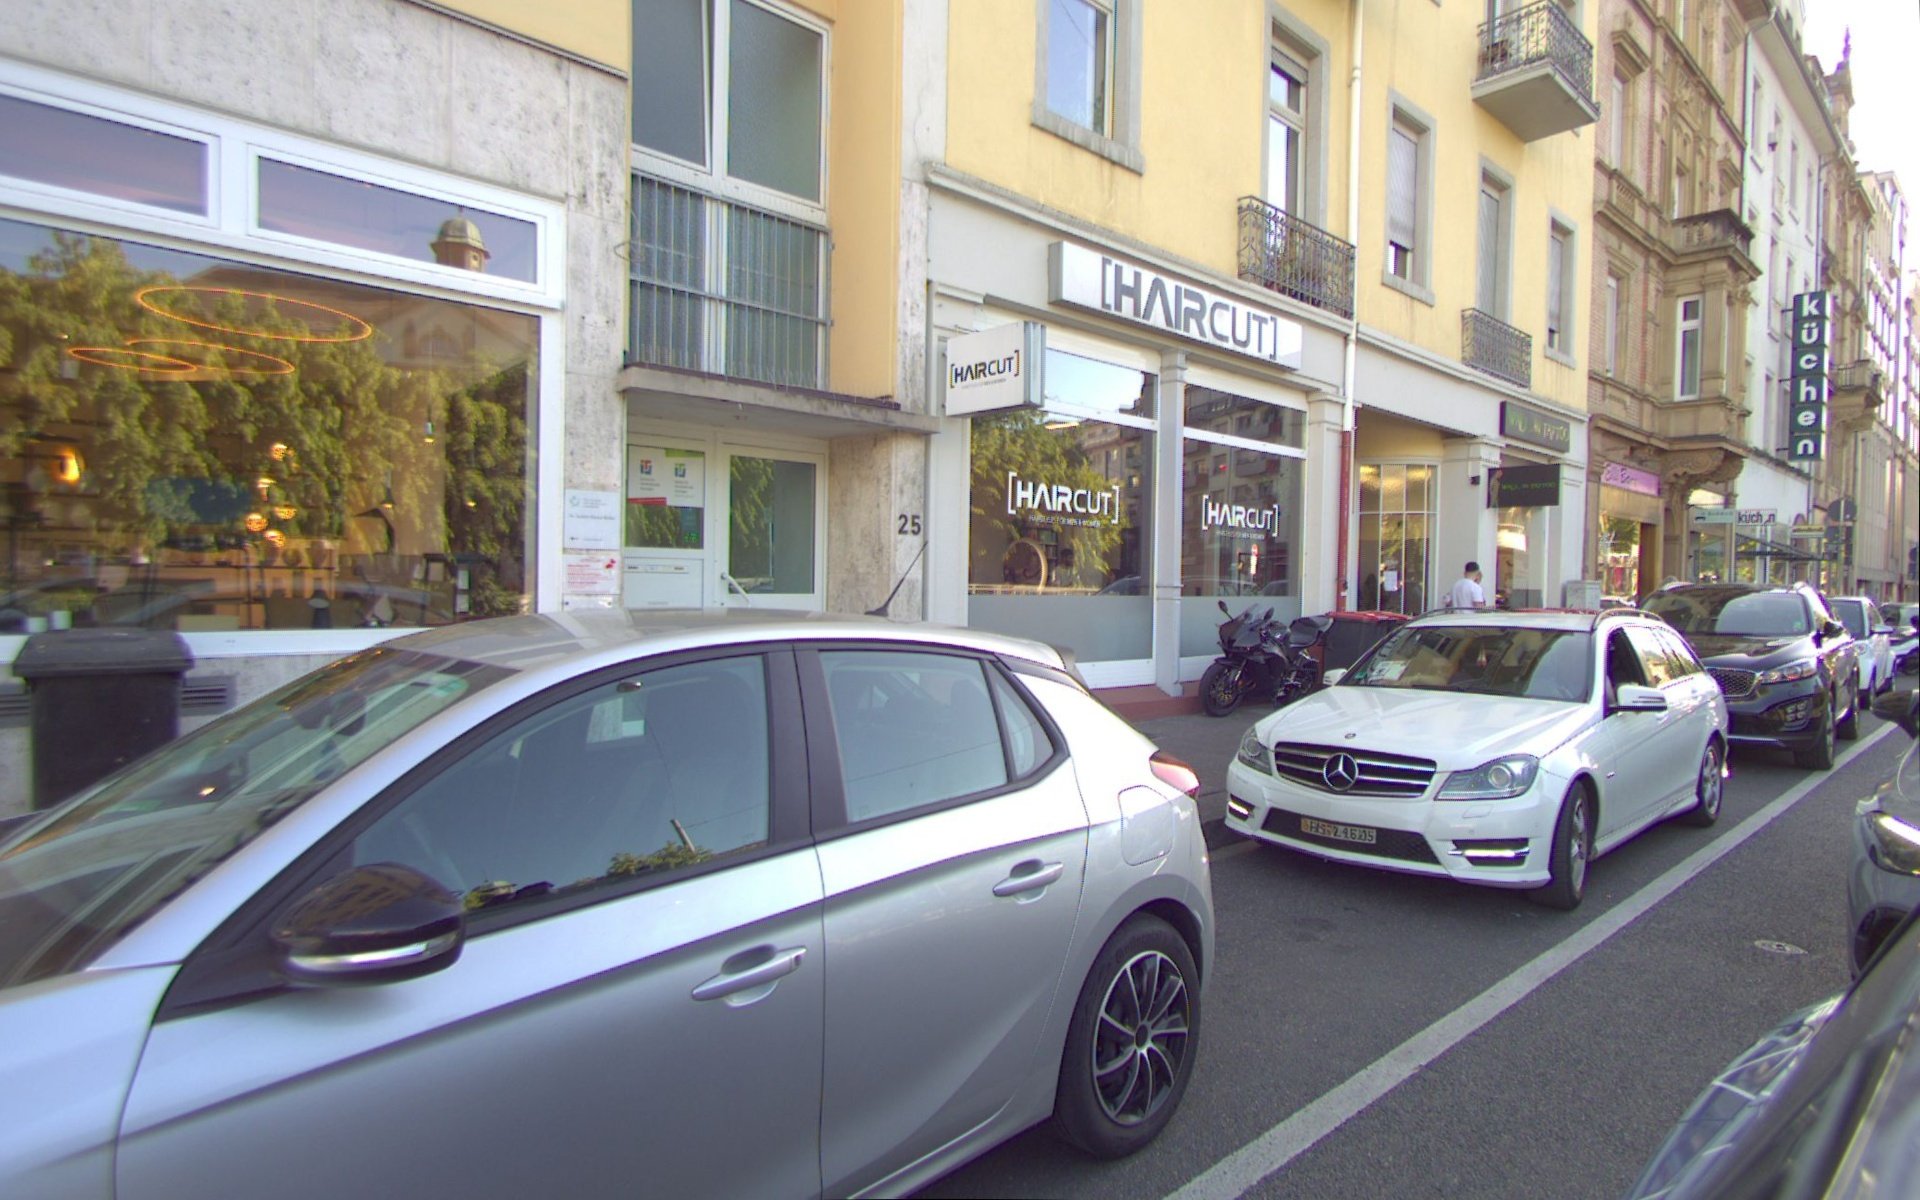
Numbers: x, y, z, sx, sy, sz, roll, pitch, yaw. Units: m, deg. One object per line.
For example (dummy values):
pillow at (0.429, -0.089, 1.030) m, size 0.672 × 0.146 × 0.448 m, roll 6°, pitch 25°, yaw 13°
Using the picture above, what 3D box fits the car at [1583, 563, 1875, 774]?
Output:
car at (8.009, 0.529, 10.369) m, size 4.338 × 1.711 × 1.802 m, roll -1°, pitch 0°, yaw -45°

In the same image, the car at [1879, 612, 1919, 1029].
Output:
car at (5.397, 0.748, 4.379) m, size 4.397 × 1.385 × 1.767 m, roll -1°, pitch 1°, yaw -43°

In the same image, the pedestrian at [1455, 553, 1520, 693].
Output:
pedestrian at (7.239, 0.298, 13.877) m, size 0.627 × 1.859 × 0.760 m, roll 0°, pitch 0°, yaw 41°

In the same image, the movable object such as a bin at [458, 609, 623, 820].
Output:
movable object such as a bin at (-2.309, 0.579, 5.556) m, size 0.639 × 1.036 × 0.737 m, roll 0°, pitch 0°, yaw -41°

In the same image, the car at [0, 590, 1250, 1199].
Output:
car at (-1.007, 0.714, 2.310) m, size 3.625 × 1.455 × 1.585 m, roll -1°, pitch 0°, yaw -43°

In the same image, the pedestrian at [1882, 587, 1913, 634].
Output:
pedestrian at (36.609, 0.402, 39.522) m, size 0.809 × 1.782 × 0.825 m, roll 0°, pitch 0°, yaw -42°

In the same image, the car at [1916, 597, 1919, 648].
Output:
car at (26.609, 0.571, 26.930) m, size 3.306 × 1.334 × 1.459 m, roll -1°, pitch 0°, yaw -42°

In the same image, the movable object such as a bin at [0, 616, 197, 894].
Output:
movable object such as a bin at (-3.685, 0.598, 4.317) m, size 0.639 × 1.036 × 0.737 m, roll 0°, pitch 0°, yaw -41°

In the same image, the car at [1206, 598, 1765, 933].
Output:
car at (3.532, 0.707, 6.390) m, size 4.301 × 1.389 × 1.671 m, roll -1°, pitch 0°, yaw -41°

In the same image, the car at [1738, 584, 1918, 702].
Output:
car at (12.770, 0.545, 14.856) m, size 2.945 × 1.542 × 1.582 m, roll -1°, pitch 0°, yaw -41°

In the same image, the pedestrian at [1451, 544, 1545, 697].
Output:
pedestrian at (6.875, 0.251, 12.969) m, size 0.961 × 1.900 × 0.532 m, roll 0°, pitch 0°, yaw 18°

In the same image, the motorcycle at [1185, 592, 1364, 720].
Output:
motorcycle at (3.301, 0.521, 10.507) m, size 2.073 × 1.144 × 0.735 m, roll -1°, pitch 5°, yaw -41°

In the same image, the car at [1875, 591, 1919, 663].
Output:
car at (21.897, 0.563, 22.812) m, size 3.736 × 1.509 × 1.691 m, roll -1°, pitch 0°, yaw -45°

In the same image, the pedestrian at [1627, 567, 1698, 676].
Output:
pedestrian at (11.648, 0.335, 16.783) m, size 0.806 × 1.741 × 0.835 m, roll 0°, pitch 0°, yaw -44°
